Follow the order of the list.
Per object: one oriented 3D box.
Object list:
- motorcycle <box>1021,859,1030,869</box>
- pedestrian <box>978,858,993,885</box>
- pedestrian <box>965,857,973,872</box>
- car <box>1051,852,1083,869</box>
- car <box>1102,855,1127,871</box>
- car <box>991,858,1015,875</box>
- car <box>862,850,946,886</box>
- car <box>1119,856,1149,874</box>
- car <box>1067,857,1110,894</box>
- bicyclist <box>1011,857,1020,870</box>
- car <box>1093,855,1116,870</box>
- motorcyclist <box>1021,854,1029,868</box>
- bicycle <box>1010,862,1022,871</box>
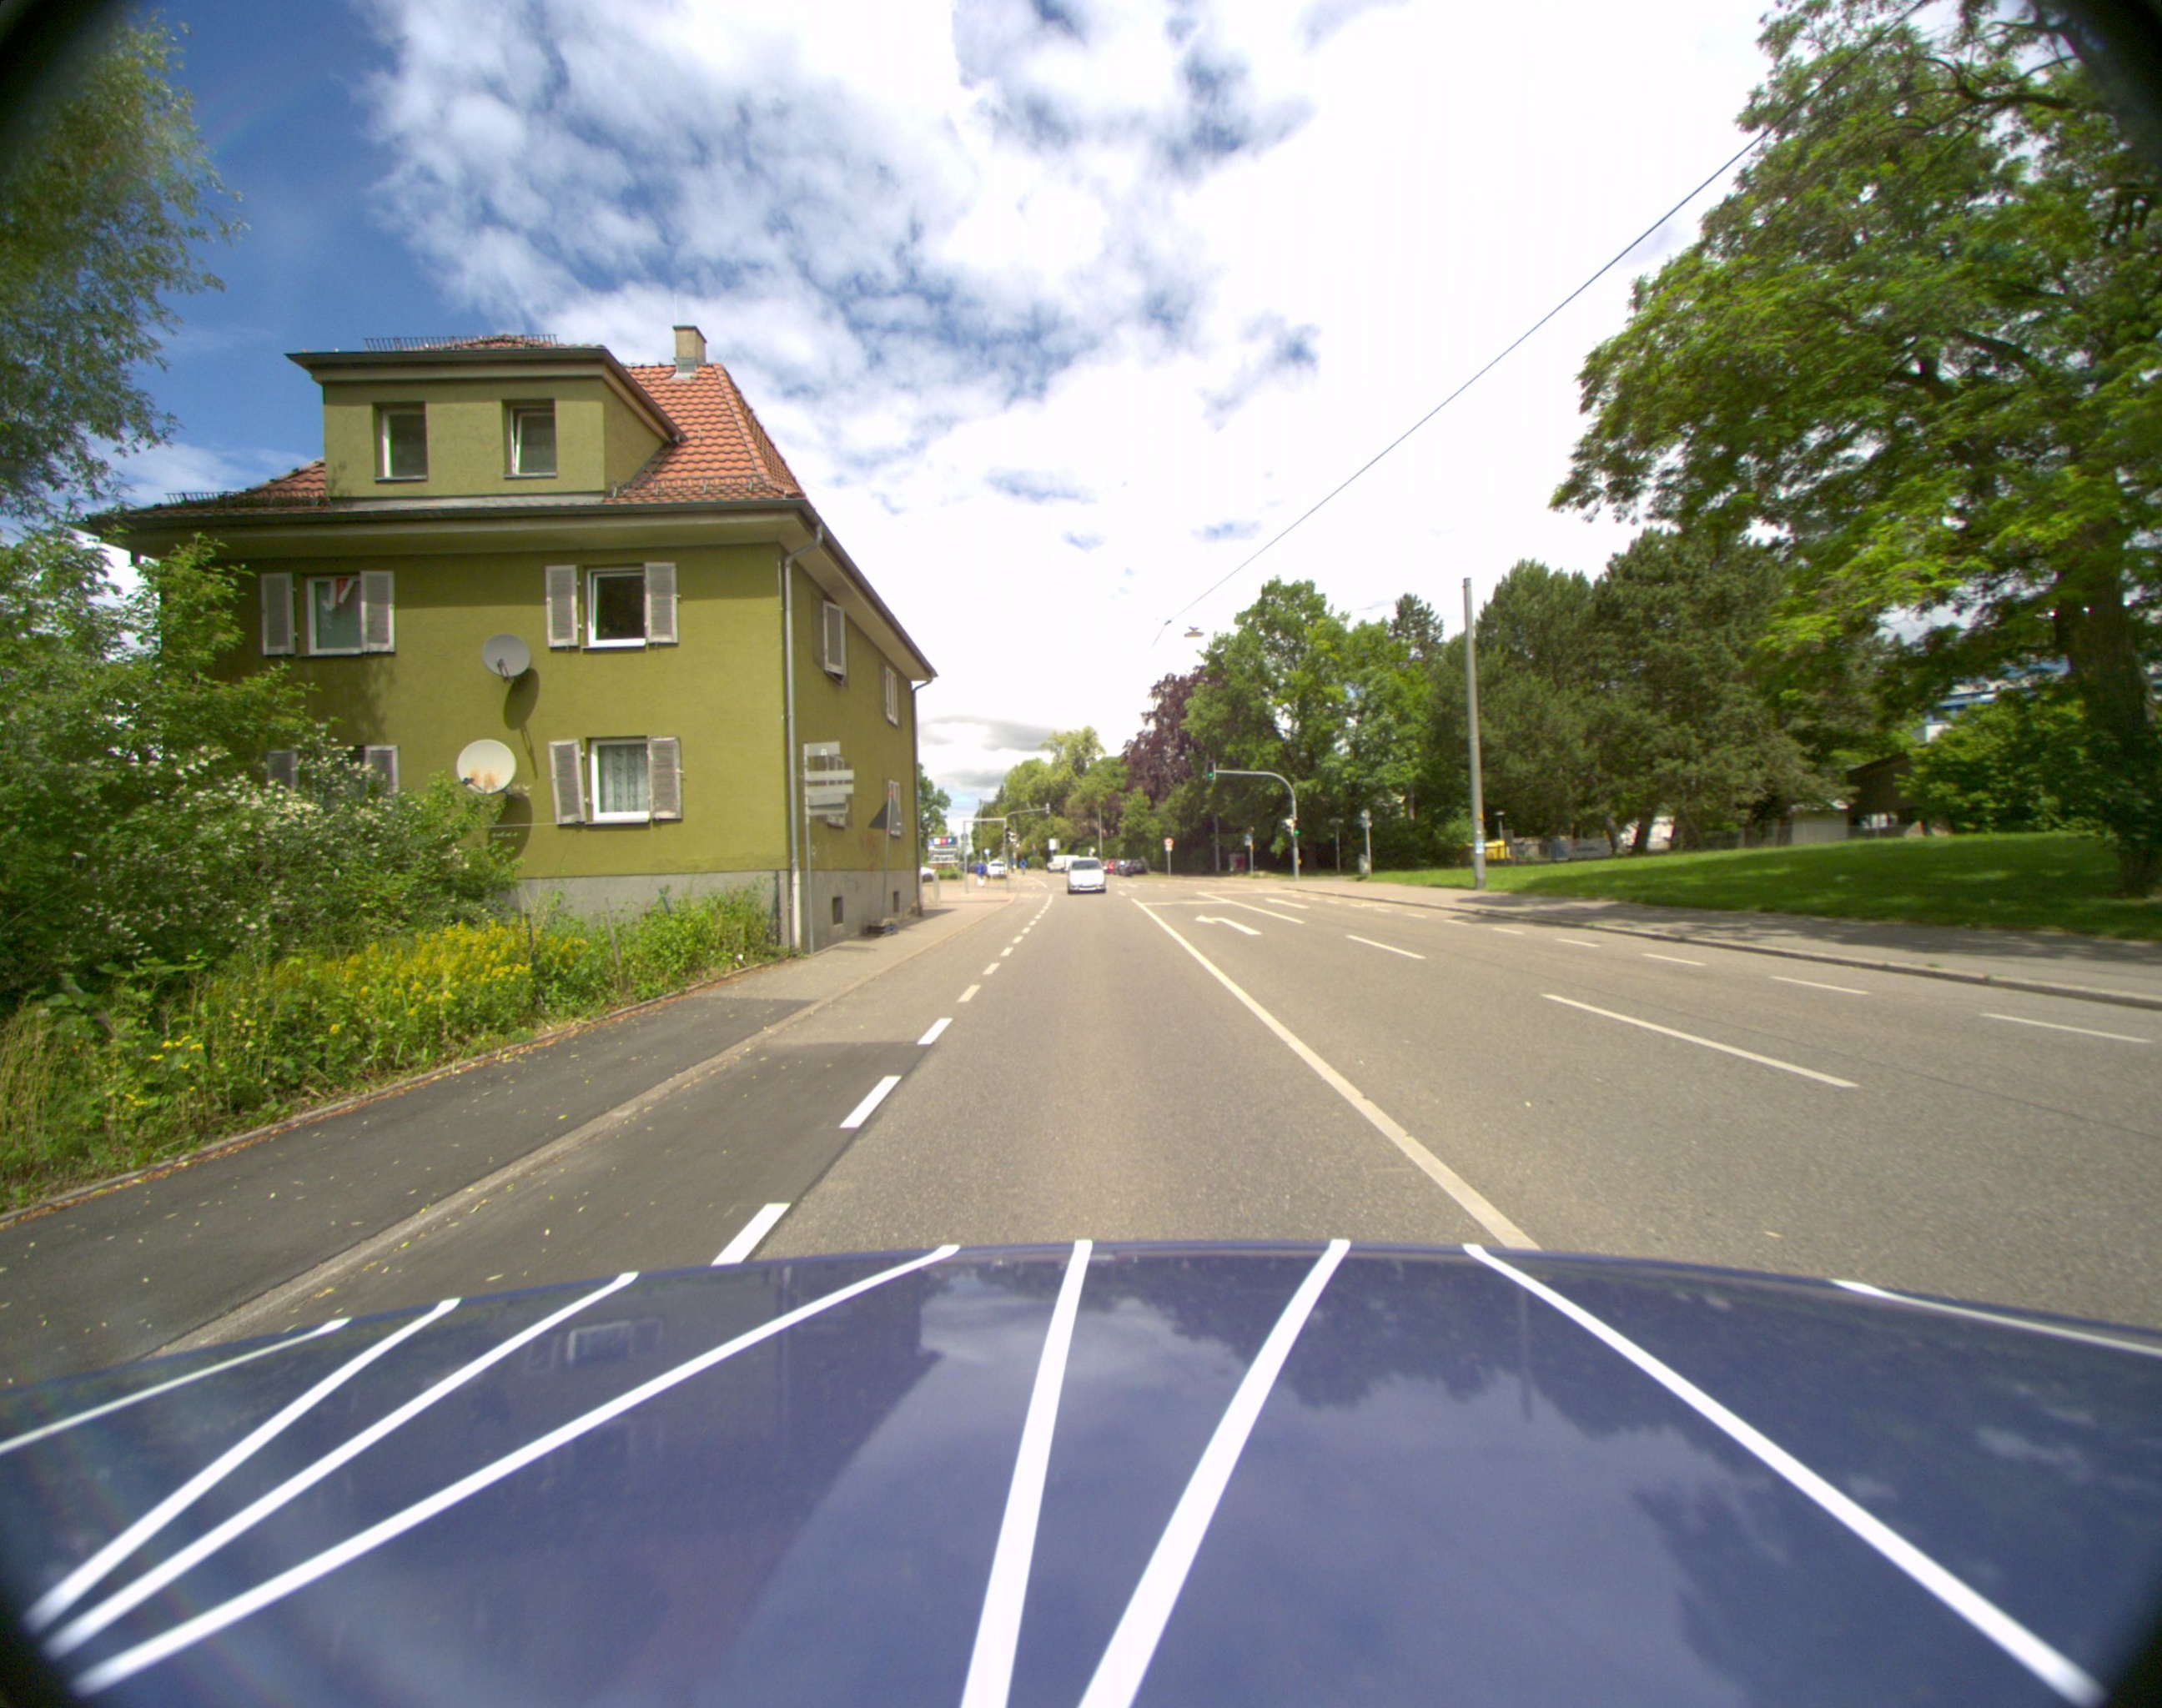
[{"bbox_3d":[-6.155,1.094,83.883,0.837,1.101,1.800,0,0,-1],"label":"motorcycle"},{"bbox_3d":[-5.576,1.036,44.290,0.729,1.543,1.056,-2,0,-10],"label":"pedestrian"},{"bbox_3d":[-12.515,1.147,85.144,0.723,1.651,0.777,-4,1,-4],"label":"pedestrian"},{"bbox_3d":[-1.597,0.694,85.089,1.803,1.787,4.493,-1,1,-28],"label":"car"},{"bbox_3d":[3.359,0.928,77.227,1.900,1.501,3.997,0,1,-7],"label":"car"},{"bbox_3d":[-7.053,1.120,69.062,1.799,1.501,3.999,-1,0,-1],"label":"car"},{"bbox_3d":[-10.470,0.808,45.153,4.364,1.983,2.001,-1,1,9],"label":"car"},{"bbox_3d":[4.696,0.986,67.546,1.900,1.501,3.997,0,1,-7],"label":"car"},{"bbox_3d":[0.341,0.935,34.354,1.781,1.519,4.000,-2,0,0],"label":"car"},{"bbox_3d":[-8.384,1.196,97.821,0.808,1.599,0.770,-4,1,-28],"label":"bicyclist"},{"bbox_3d":[2.481,0.906,82.211,1.900,1.501,3.997,0,1,-7],"label":"car"},{"bbox_3d":[-6.168,0.783,83.819,0.837,1.547,0.650,0,1,-1],"label":"motorcyclist"},{"bbox_3d":[-8.361,1.657,97.844,0.815,1.101,1.796,-4,0,-28],"label":"bicycle"}]
